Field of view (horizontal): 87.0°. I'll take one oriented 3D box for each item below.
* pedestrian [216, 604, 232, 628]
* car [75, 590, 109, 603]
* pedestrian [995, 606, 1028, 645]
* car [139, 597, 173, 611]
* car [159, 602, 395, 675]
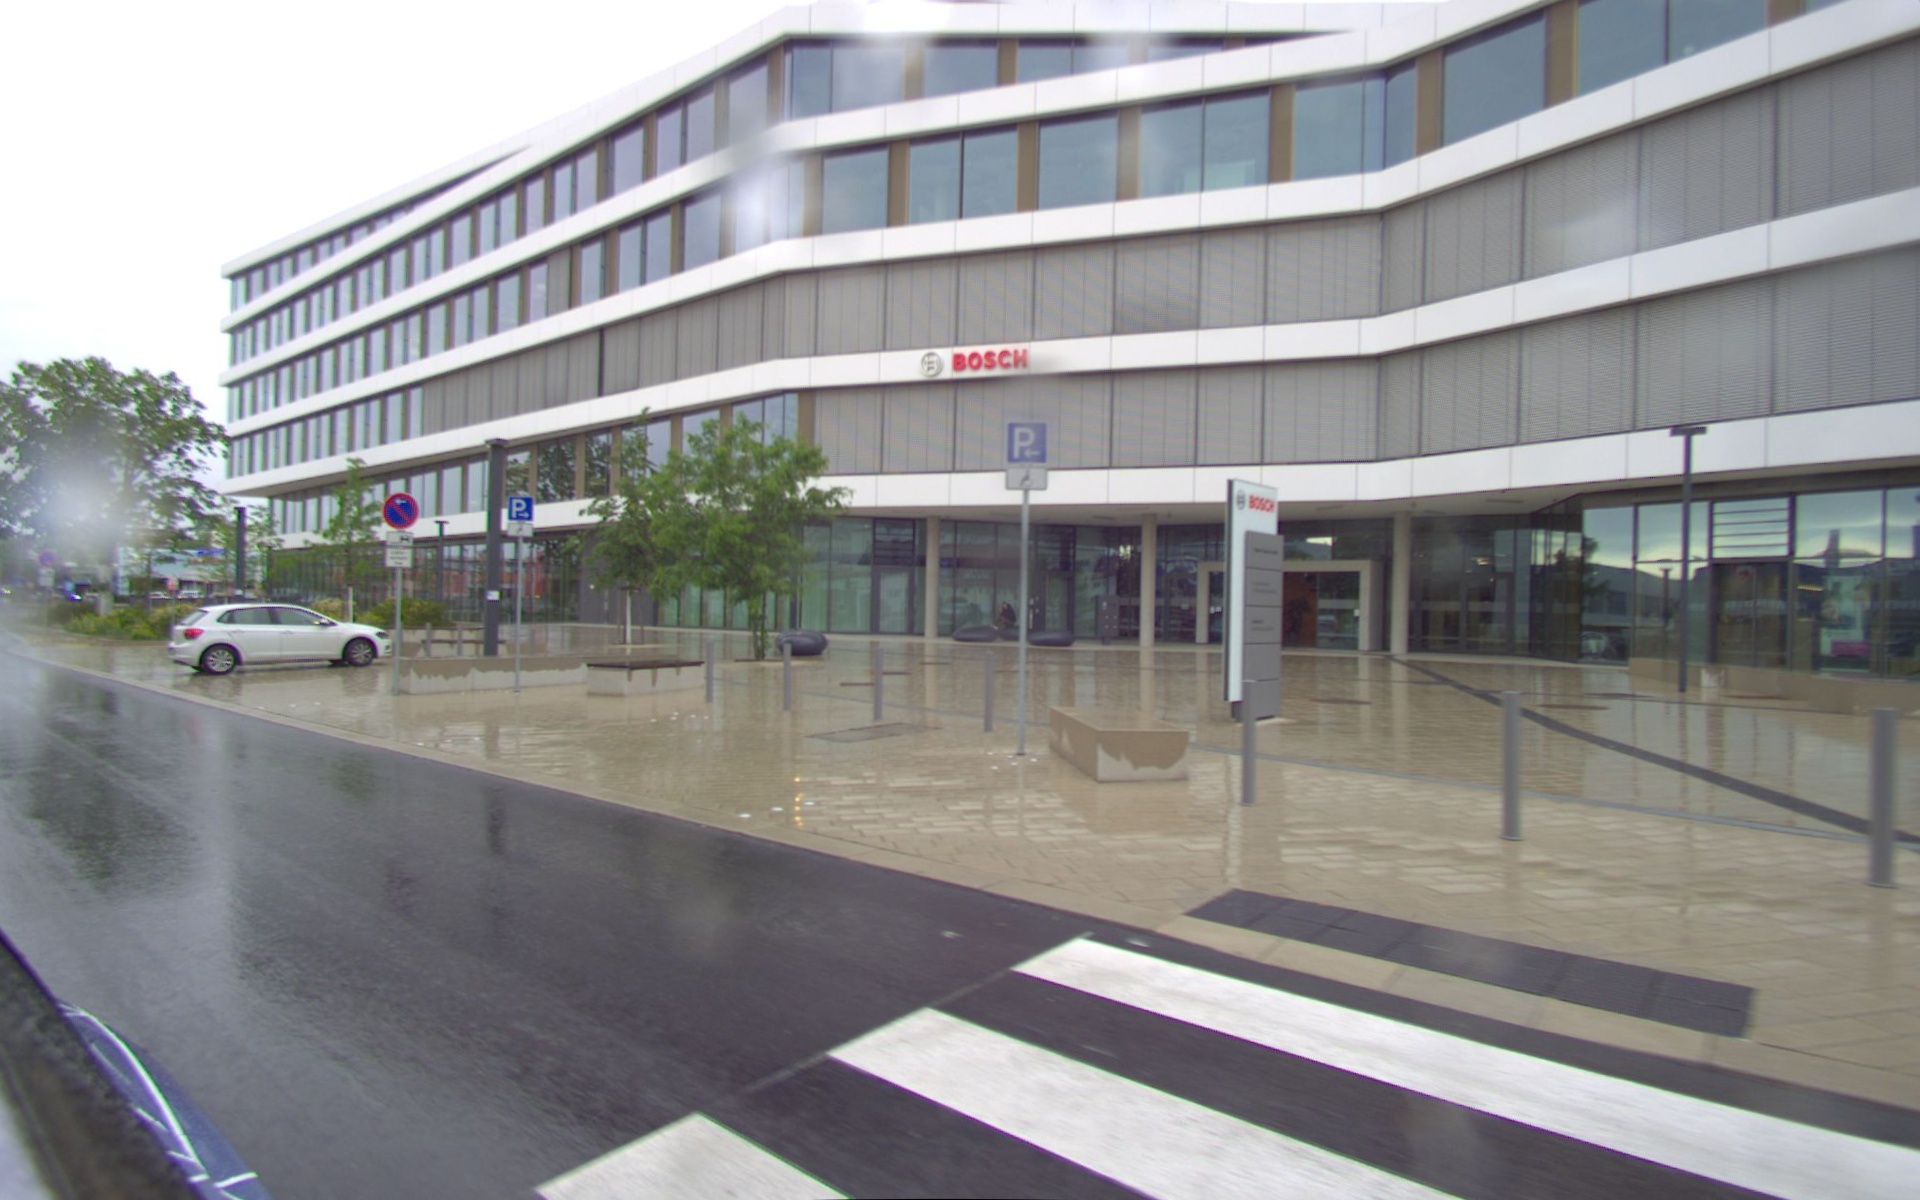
[{"bbox_3d":[-53.660,1.161,73.805,0.957,1.716,0.716,2,4,44],"label":"pedestrian"},{"bbox_3d":[-104.493,-0.389,121.899,1.888,1.541,4.013,-1,0,-23],"label":"car"},{"bbox_3d":[1.841,0.896,36.092,1.051,1.324,0.895,0,3,14],"label":"pedestrian"},{"bbox_3d":[-83.877,0.396,105.610,1.855,1.305,4.013,-2,1,-25],"label":"car"},{"bbox_3d":[-14.709,0.793,21.932,1.897,1.434,3.886,0,-1,42],"label":"car"}]
